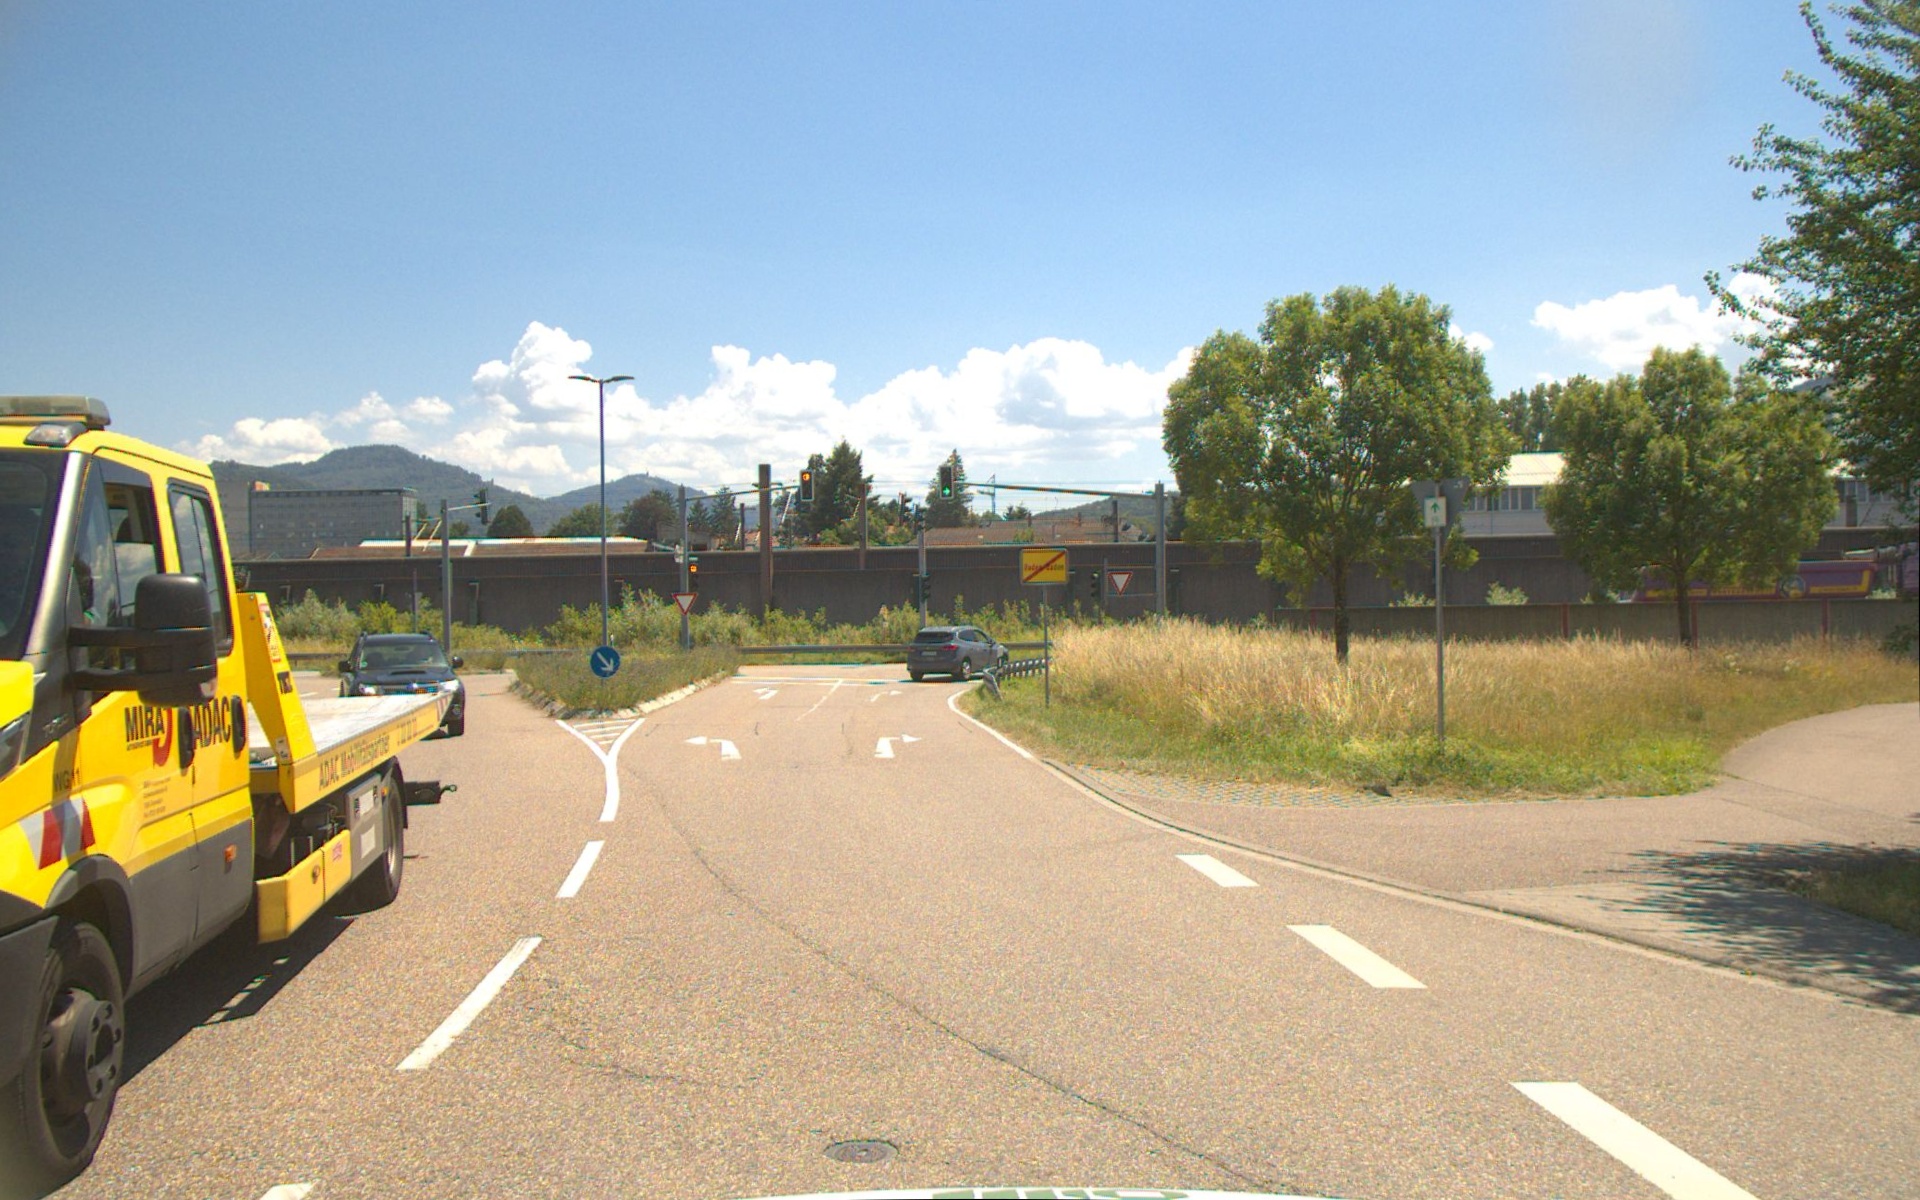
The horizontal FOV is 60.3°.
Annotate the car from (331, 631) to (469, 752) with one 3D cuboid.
[{"bbox_3d":[-9.382,1.446,27.528,1.876,1.732,3.972,-1,0,-23],"label":"car"}]

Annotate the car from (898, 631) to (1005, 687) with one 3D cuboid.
[{"bbox_3d":[-0.198,1.728,49.806,1.952,1.529,4.001,1,0,20],"label":"car"}]

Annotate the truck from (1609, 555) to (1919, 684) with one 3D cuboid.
[{"bbox_3d":[28.507,0.681,56.352,11.519,4.254,3.007,0,-1,6],"label":"truck"}]

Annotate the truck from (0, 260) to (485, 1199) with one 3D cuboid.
[{"bbox_3d":[-3.965,0.584,7.776,2.269,2.378,9.028,-2,-1,-10],"label":"truck"}]
